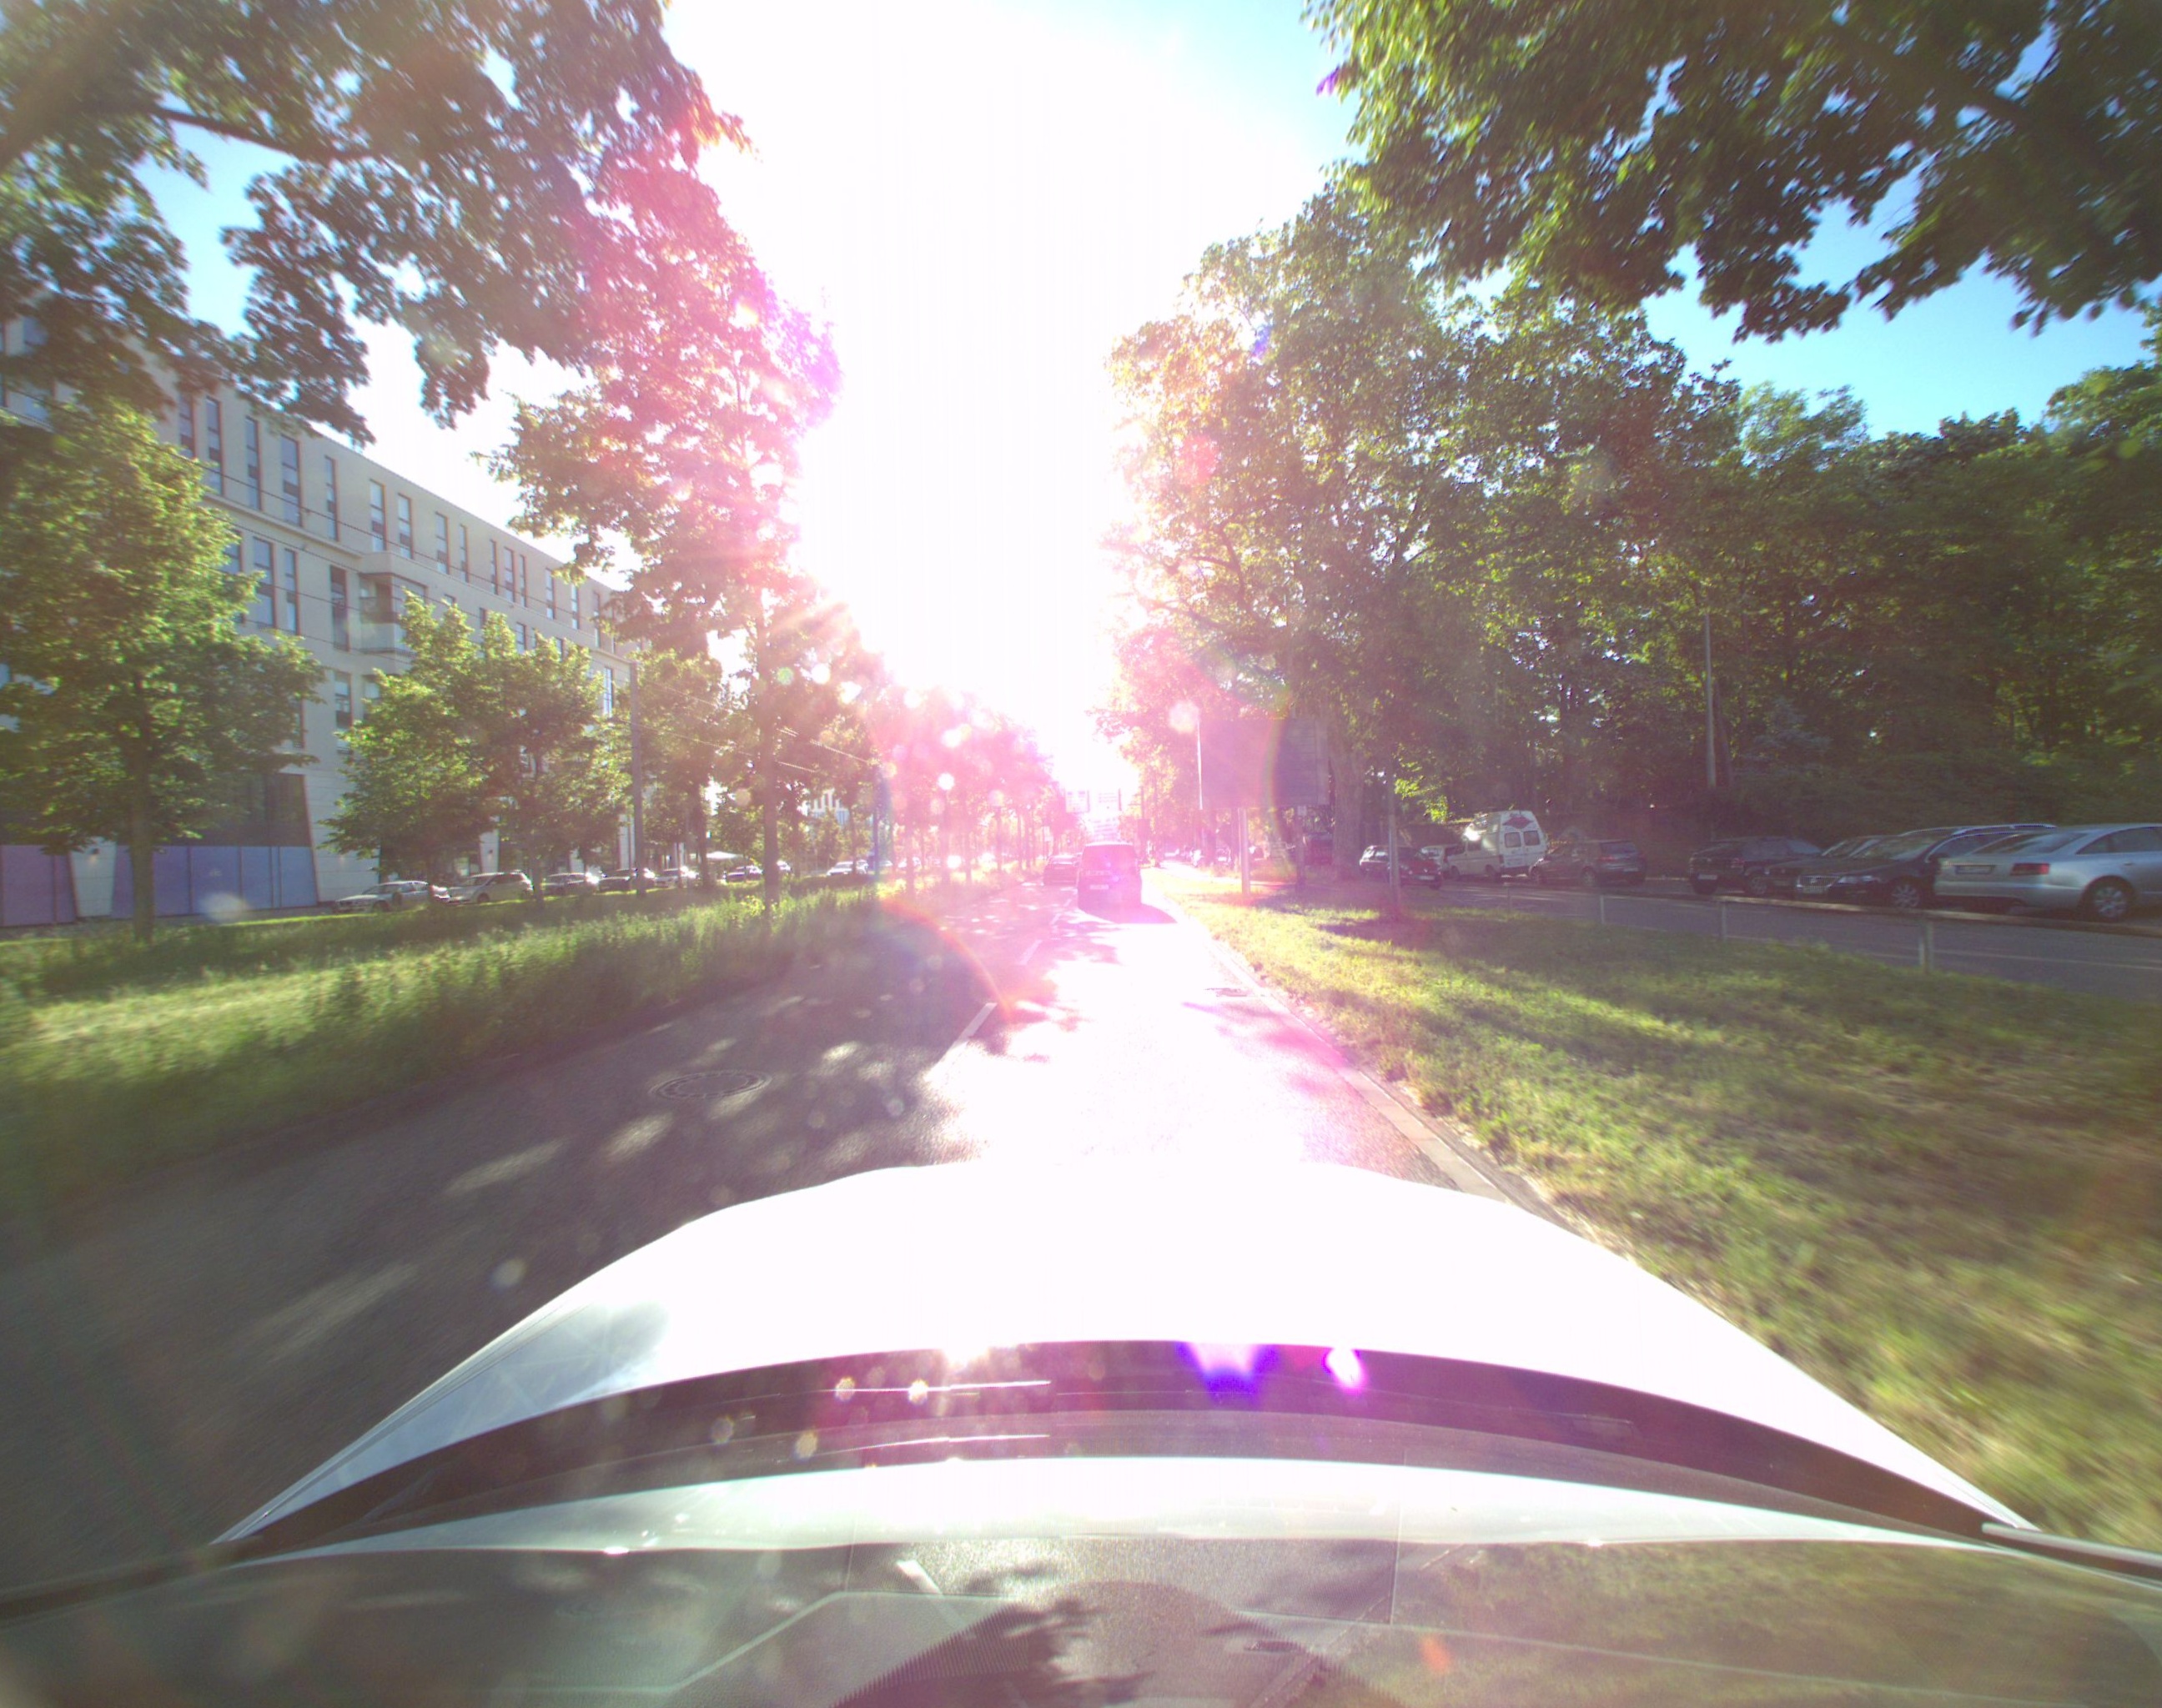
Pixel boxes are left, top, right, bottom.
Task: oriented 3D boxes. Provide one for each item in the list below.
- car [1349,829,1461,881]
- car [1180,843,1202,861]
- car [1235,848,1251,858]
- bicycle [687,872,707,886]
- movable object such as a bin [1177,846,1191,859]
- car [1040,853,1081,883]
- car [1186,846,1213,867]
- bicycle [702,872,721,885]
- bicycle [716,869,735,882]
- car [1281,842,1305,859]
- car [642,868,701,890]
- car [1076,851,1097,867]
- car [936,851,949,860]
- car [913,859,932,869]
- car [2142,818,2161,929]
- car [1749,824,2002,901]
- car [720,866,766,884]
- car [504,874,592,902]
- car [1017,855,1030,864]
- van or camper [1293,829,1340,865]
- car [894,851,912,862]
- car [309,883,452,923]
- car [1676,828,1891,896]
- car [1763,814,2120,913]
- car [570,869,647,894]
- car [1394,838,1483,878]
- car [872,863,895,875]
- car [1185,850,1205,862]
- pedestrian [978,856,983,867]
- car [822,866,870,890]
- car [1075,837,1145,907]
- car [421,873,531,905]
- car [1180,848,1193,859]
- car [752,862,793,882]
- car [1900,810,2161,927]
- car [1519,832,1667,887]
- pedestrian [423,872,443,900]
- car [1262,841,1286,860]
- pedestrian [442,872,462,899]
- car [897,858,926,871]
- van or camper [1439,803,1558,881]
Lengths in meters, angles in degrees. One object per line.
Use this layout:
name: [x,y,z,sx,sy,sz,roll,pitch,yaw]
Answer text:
car: [10.924,0.039,27.778,1.990,1.640,3.992,0,0,-5]
car: [13.293,-0.210,98.942,2.180,2.014,5.825,0,0,3]
car: [26.018,-0.111,130.544,1.985,1.640,4.003,0,0,3]
bicycle: [-35.778,2.333,75.877,0.731,1.198,2.241,0,-1,1]
movable object such as a bin: [16.178,-0.275,127.778,2.071,2.014,2.139,0,-1,6]
car: [-0.979,0.688,40.725,1.785,1.428,4.002,0,0,2]
car: [9.013,0.196,62.246,1.784,1.560,4.026,1,0,5]
bicycle: [-35.643,2.353,78.604,0.731,1.198,2.241,0,-1,1]
bicycle: [-35.574,2.133,81.583,0.582,1.252,1.850,-1,-1,23]
car: [20.133,-0.316,77.597,1.681,1.472,3.766,-4,-1,7]
car: [-29.343,1.772,58.470,1.987,1.441,4.455,0,0,0]
car: [0.545,0.514,82.143,1.986,1.618,4.002,0,0,2]
car: [-31.332,0.314,184.107,1.985,2.014,4.567,0,0,3]
car: [-26.593,1.665,136.561,1.985,1.608,4.614,0,0,3]
car: [16.596,0.131,10.173,4.317,1.477,1.905,-4,1,-2]
car: [17.515,0.187,18.092,3.973,1.392,1.620,-4,-1,0]
car: [-28.694,1.769,69.241,1.950,1.441,4.268,0,0,2]
car: [-29.763,1.859,45.659,1.987,1.441,4.455,0,0,0]
car: [-11.467,1.087,162.066,1.984,1.571,4.172,-2,0,5]
van or camper: [19.404,-0.601,67.534,2.543,2.684,6.577,-4,0,7]
car: [-32.964,0.506,150.730,1.985,2.014,4.567,0,0,3]
car: [-29.959,2.053,35.070,1.987,1.441,4.778,0,0,0]
car: [17.463,0.195,20.365,3.979,1.505,1.763,-2,0,-4]
car: [16.583,0.180,15.920,4.701,1.406,2.001,-5,0,2]
car: [-29.734,1.679,51.476,1.987,1.441,4.935,0,0,0]
car: [16.531,0.178,37.904,1.839,1.617,3.988,-5,0,-9]
car: [-27.843,2.054,114.724,1.871,1.621,4.614,0,0,3]
car: [13.025,0.250,93.494,1.985,1.290,4.056,0,0,3]
pedestrian: [-13.269,0.967,107.818,0.547,1.518,0.589,0,-1,7]
car: [-17.750,1.798,61.688,1.986,1.686,5.112,0,0,2]
car: [0.749,0.494,23.501,1.803,1.838,3.998,0,0,-1]
car: [-29.689,1.680,40.141,1.986,1.441,4.458,0,0,2]
car: [15.247,-0.102,117.499,1.654,1.500,2.993,0,-1,5]
car: [-28.621,1.677,75.652,1.987,1.772,4.775,0,0,0]
car: [16.361,0.161,12.981,4.361,1.411,2.002,-6,0,4]
car: [16.660,0.185,26.743,1.992,1.574,3.990,-3,-1,-7]
pedestrian: [-39.673,1.945,49.861,0.634,1.651,0.719,0,-1,-6]
car: [21.533,-0.331,90.951,2.076,2.013,4.952,-1,0,7]
pedestrian: [-38.851,1.944,50.286,0.633,1.651,0.720,0,-1,-1]
car: [-19.404,1.141,93.540,1.984,1.441,4.708,0,0,4]
van or camper: [16.474,-0.420,32.488,1.988,2.731,4.962,-5,0,-1]
